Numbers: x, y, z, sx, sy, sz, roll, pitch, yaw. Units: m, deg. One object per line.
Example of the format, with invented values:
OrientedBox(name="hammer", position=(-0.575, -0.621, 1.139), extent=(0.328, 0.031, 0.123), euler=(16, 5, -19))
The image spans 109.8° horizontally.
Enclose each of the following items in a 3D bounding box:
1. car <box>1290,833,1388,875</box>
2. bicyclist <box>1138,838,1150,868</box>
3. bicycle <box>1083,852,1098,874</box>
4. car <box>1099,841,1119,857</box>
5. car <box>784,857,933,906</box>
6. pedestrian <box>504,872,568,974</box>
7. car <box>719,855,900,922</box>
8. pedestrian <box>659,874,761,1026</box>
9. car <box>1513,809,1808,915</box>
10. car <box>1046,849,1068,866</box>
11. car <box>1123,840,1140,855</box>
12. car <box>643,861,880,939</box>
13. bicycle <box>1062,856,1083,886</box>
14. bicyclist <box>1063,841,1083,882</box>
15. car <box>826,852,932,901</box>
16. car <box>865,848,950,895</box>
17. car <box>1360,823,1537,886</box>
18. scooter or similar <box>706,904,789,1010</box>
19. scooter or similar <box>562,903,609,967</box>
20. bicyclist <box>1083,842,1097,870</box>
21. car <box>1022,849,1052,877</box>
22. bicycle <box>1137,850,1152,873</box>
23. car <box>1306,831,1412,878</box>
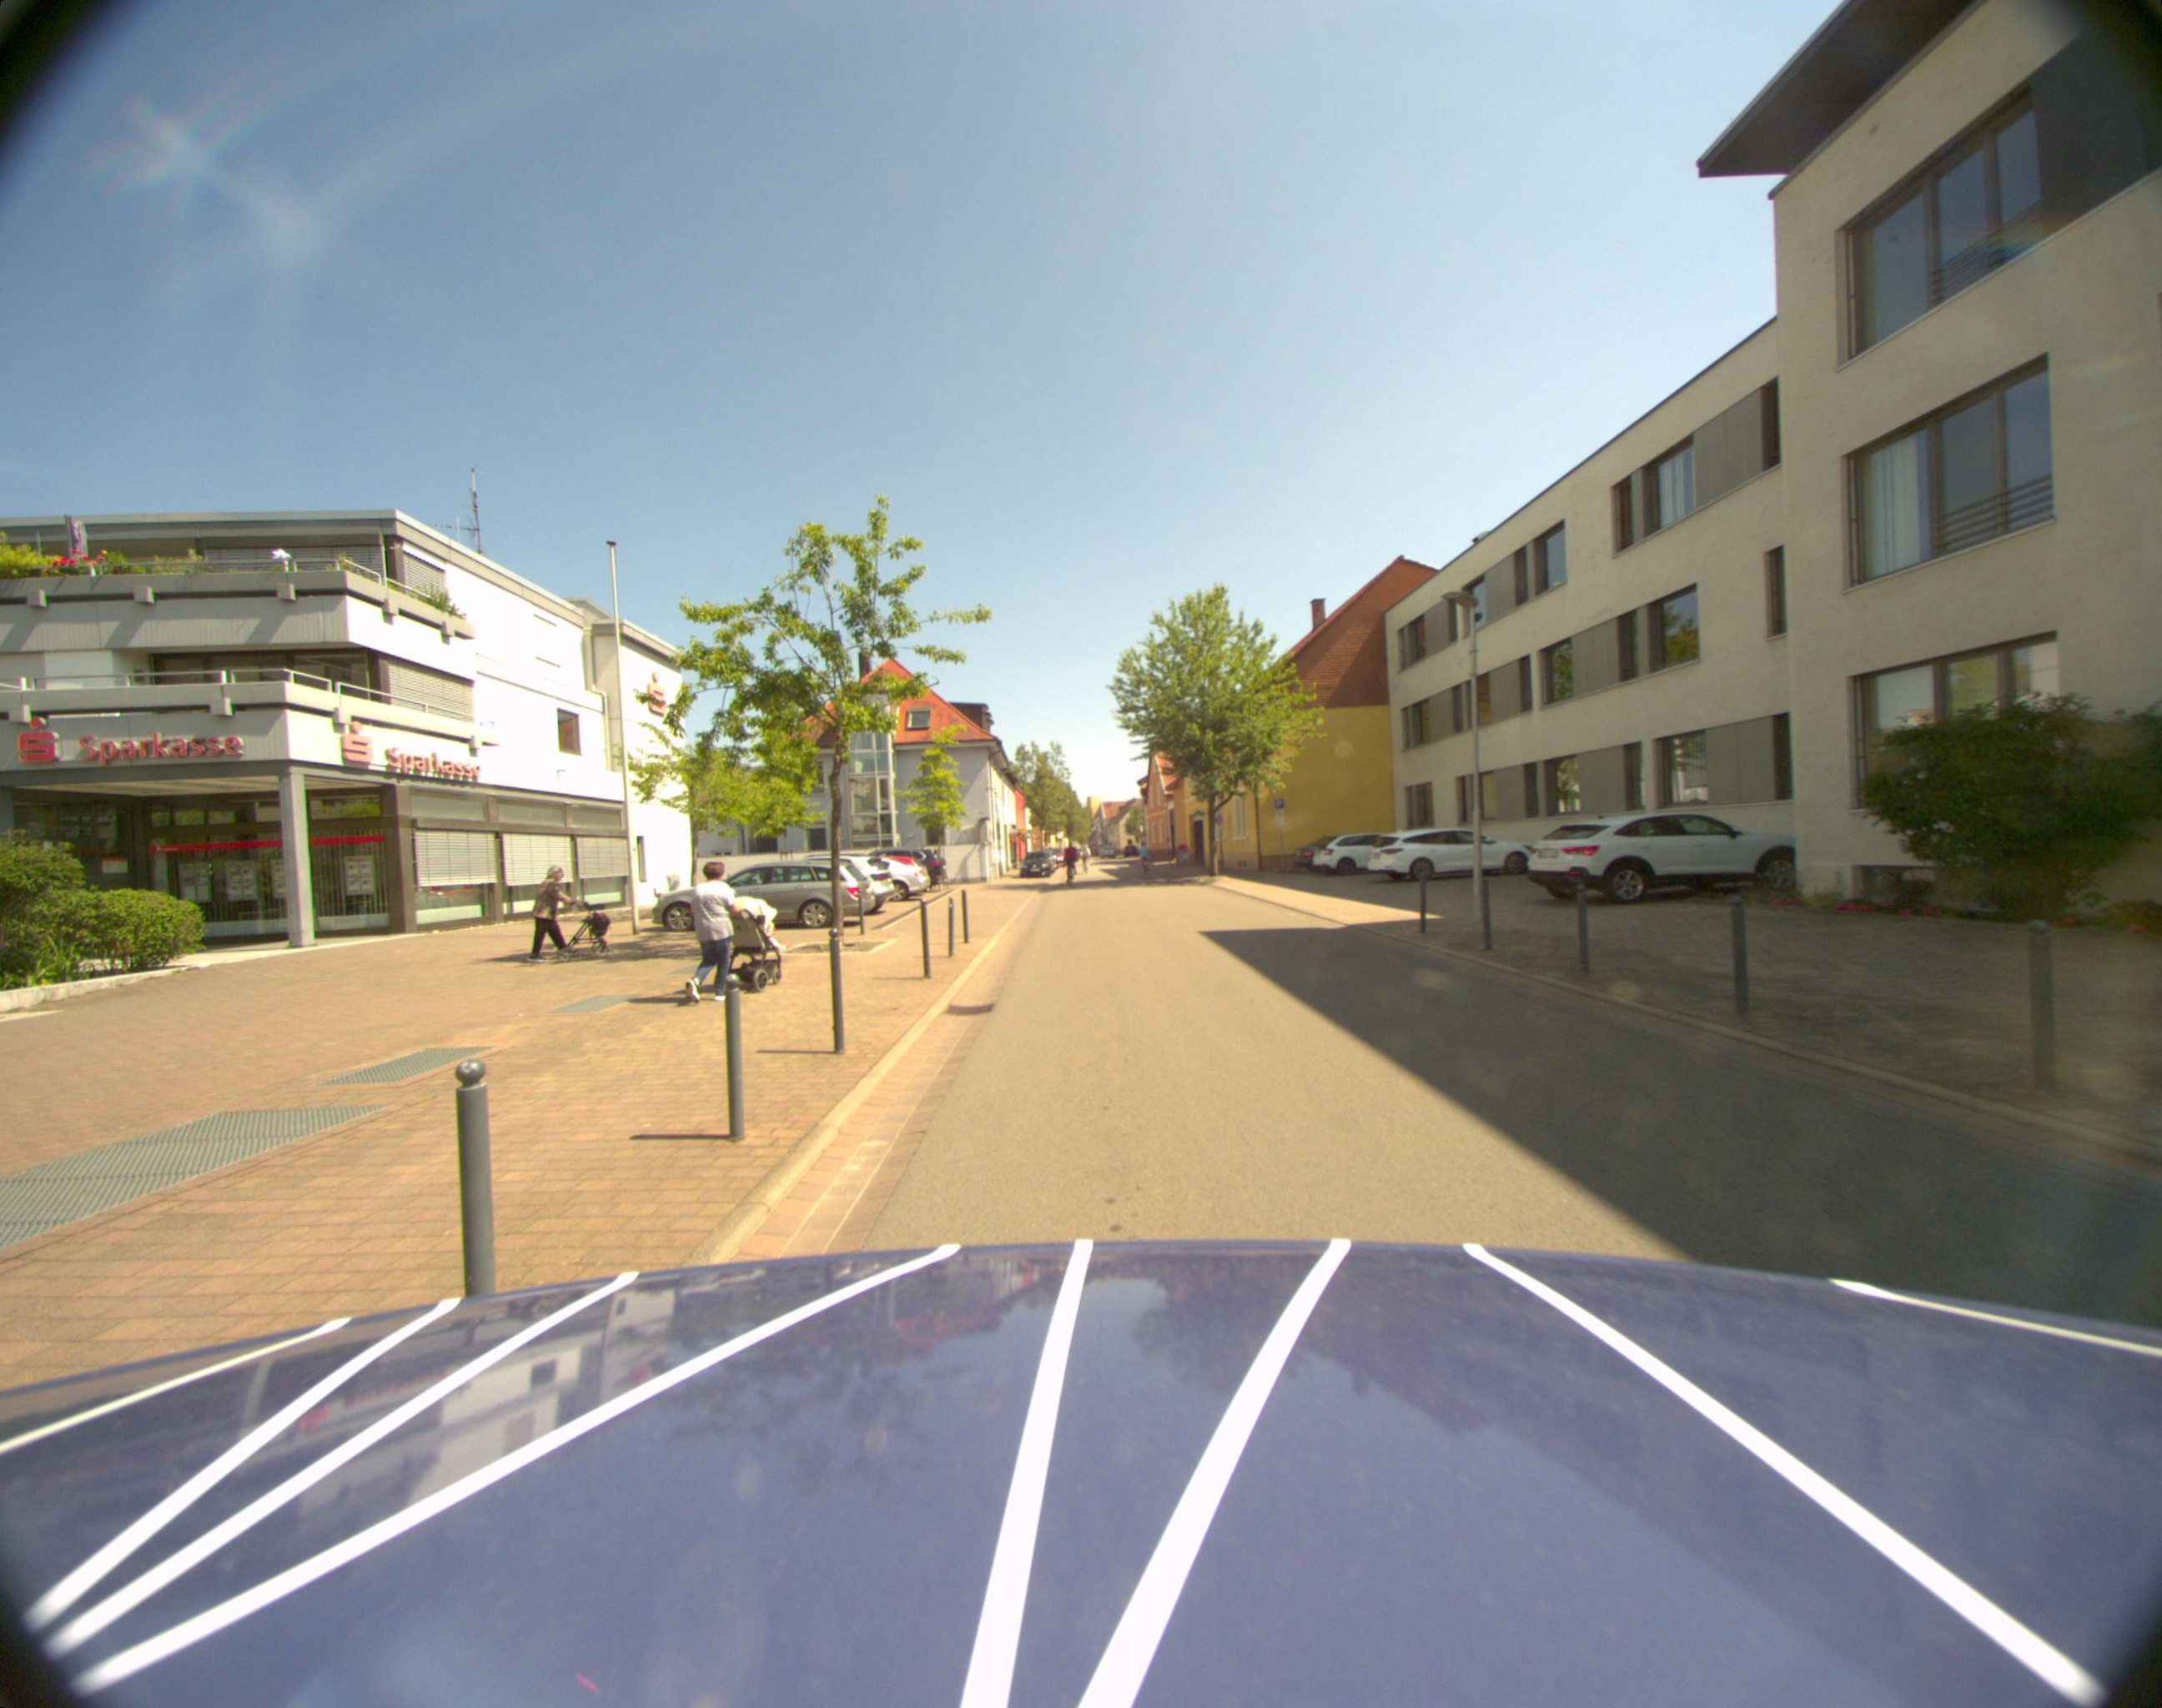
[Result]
OrientedBox(name="car", position=(9.960, -0.002, 29.492), extent=(3.258, 1.393, 1.374), euler=(-4, 1, -2))
OrientedBox(name="bicyclist", position=(3.432, -0.058, 41.187), extent=(0.538, 1.630, 0.551), euler=(-2, 1, -2))
OrientedBox(name="bicycle", position=(0.556, 0.505, 44.695), extent=(0.690, 1.183, 1.798), euler=(-4, 1, -3))
OrientedBox(name="car", position=(3.264, -0.592, 89.192), extent=(1.999, 1.696, 3.999), euler=(-2, 1, -1))
OrientedBox(name="car", position=(-7.173, 0.869, 24.880), extent=(4.446, 1.434, 1.655), euler=(-1, 1, -8))
OrientedBox(name="pedestrian", position=(-8.475, 1.051, 11.825), extent=(0.725, 1.492, 0.530), euler=(-3, 1, -36))
OrientedBox(name="car", position=(-6.871, 0.843, 19.597), extent=(4.047, 1.550, 1.711), euler=(-1, 1, -6))
OrientedBox(name="pedestrian", position=(-3.966, 0.986, 8.202), extent=(0.512, 1.507, 1.048), euler=(-1, 1, 2))
OrientedBox(name="car", position=(10.390, 0.118, 13.826), extent=(3.997, 1.539, 1.748), euler=(-4, 1, -2))
OrientedBox(name="car", position=(-1.976, 0.236, 61.924), extent=(1.530, 1.298, 3.248), euler=(-1, 1, -6))
OrientedBox(name="car", position=(6.594, -0.839, 99.786), extent=(1.826, 1.805, 3.999), euler=(-2, 1, -1))
OrientedBox(name="car", position=(-6.864, 0.954, 16.731), extent=(4.446, 1.457, 1.689), euler=(-1, 2, -6))
OrientedBox(name="bicycle", position=(-0.373, 0.715, 32.779), extent=(0.738, 1.183, 1.970), euler=(-4, 1, -3))
OrientedBox(name="bicyclist", position=(-0.342, 0.321, 32.619), extent=(0.703, 1.707, 0.759), euler=(-4, 2, -3))
OrientedBox(name="car", position=(-7.224, 0.785, 27.414), extent=(3.431, 1.543, 1.490), euler=(-2, 1, -5))
OrientedBox(name="car", position=(-6.710, 0.647, 29.555), extent=(3.041, 1.727, 1.344), euler=(-1, 1, -5))
OrientedBox(name="car", position=(10.594, 0.003, 22.091), extent=(4.324, 1.470, 1.513), euler=(-4, 1, 0))
OrientedBox(name="scooter or similar", position=(-3.914, 1.188, 8.978), extent=(0.505, 1.112, 0.909), euler=(-1, 1, 4))
OrientedBox(name="scooter or similar", position=(-7.966, 1.291, 12.216), extent=(0.548, 0.940, 0.535), euler=(-3, 1, -38))
OrientedBox(name="bicyclist", position=(0.544, 0.099, 44.734), extent=(0.703, 1.573, 0.878), euler=(-4, 2, -3))
OrientedBox(name="car", position=(-2.496, 0.461, 42.464), extent=(1.530, 1.444, 3.519), euler=(-2, 1, -6))
OrientedBox(name="bicycle", position=(3.425, 0.399, 41.124), extent=(0.595, 1.183, 1.724), euler=(-3, 1, -2))
OrientedBox(name="car", position=(9.923, 0.009, 27.282), extent=(3.139, 1.442, 1.642), euler=(-4, 1, 1))
